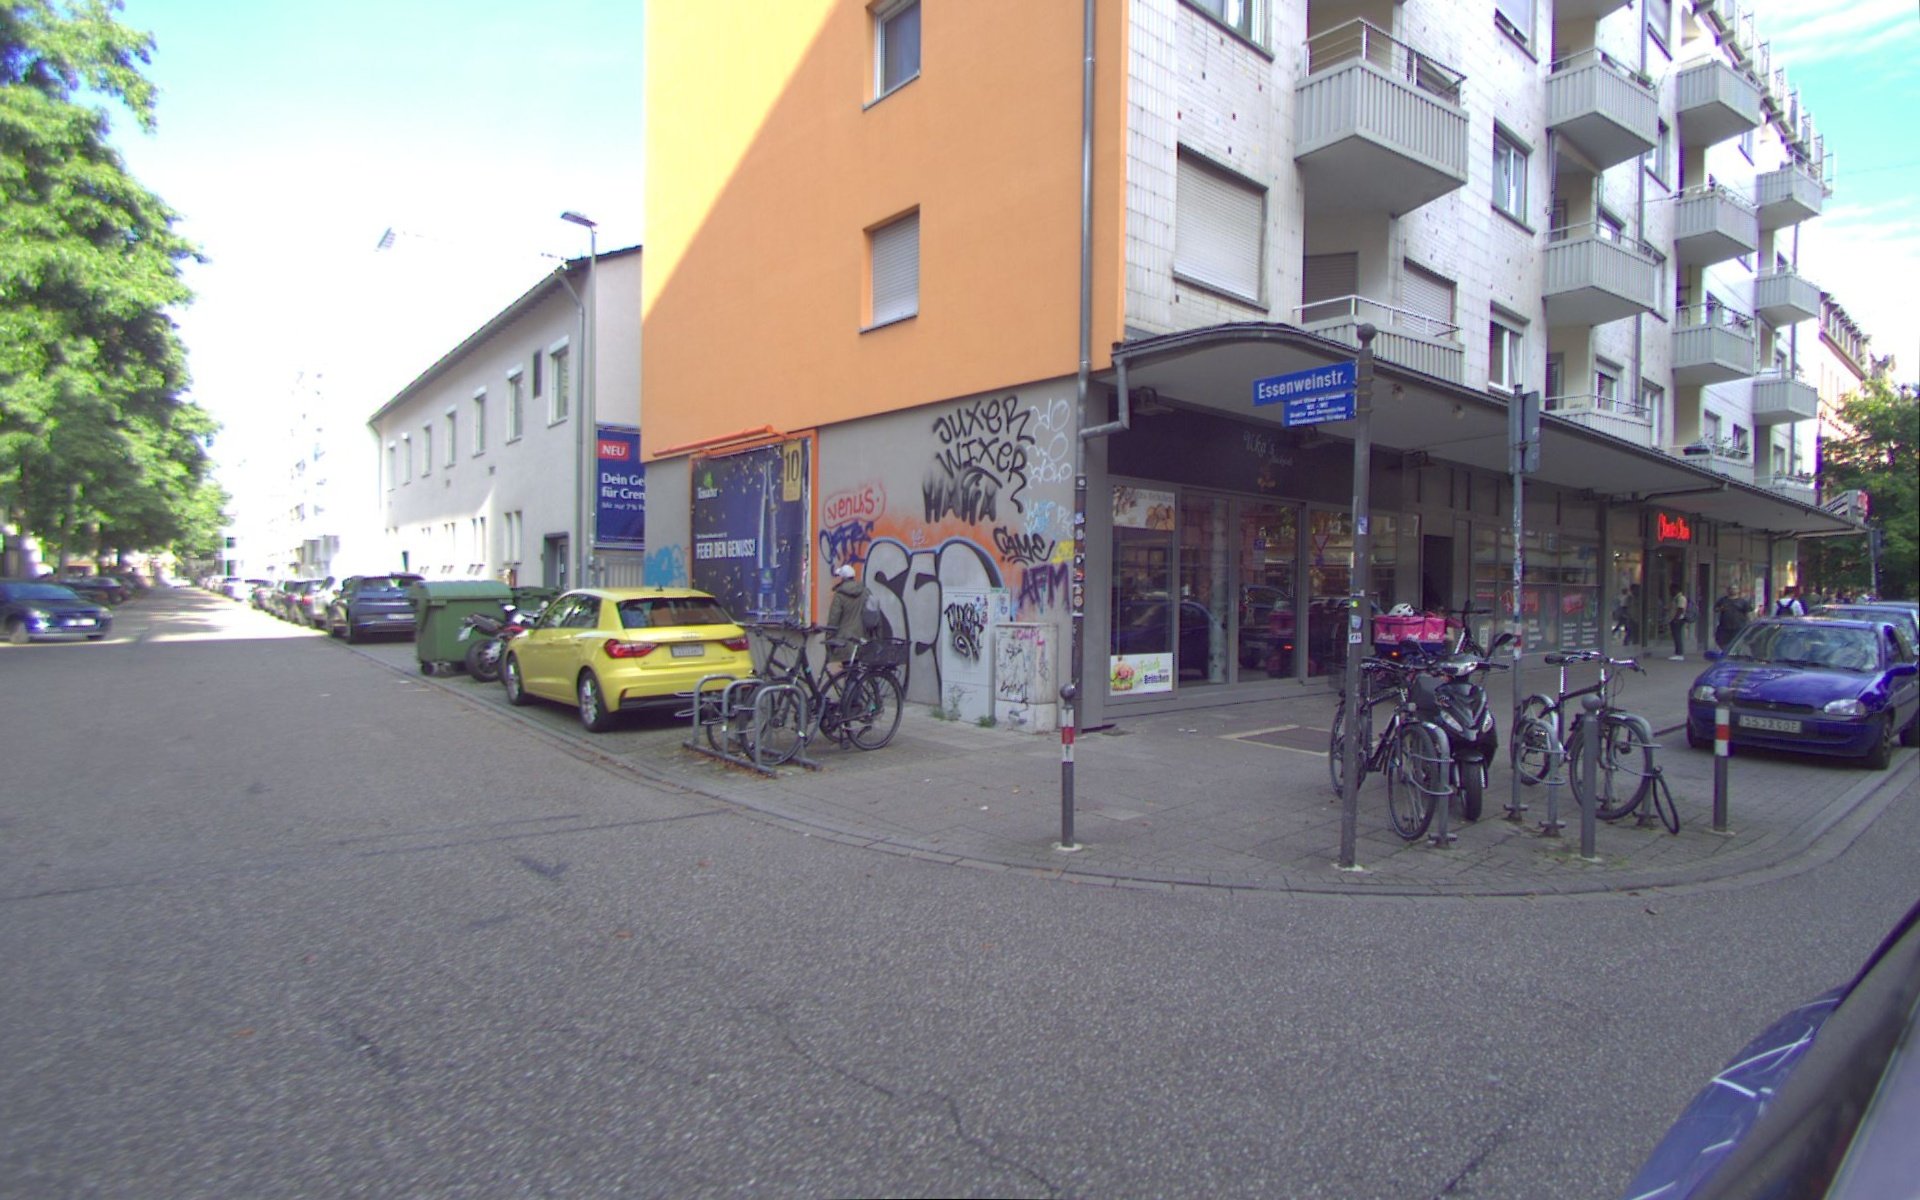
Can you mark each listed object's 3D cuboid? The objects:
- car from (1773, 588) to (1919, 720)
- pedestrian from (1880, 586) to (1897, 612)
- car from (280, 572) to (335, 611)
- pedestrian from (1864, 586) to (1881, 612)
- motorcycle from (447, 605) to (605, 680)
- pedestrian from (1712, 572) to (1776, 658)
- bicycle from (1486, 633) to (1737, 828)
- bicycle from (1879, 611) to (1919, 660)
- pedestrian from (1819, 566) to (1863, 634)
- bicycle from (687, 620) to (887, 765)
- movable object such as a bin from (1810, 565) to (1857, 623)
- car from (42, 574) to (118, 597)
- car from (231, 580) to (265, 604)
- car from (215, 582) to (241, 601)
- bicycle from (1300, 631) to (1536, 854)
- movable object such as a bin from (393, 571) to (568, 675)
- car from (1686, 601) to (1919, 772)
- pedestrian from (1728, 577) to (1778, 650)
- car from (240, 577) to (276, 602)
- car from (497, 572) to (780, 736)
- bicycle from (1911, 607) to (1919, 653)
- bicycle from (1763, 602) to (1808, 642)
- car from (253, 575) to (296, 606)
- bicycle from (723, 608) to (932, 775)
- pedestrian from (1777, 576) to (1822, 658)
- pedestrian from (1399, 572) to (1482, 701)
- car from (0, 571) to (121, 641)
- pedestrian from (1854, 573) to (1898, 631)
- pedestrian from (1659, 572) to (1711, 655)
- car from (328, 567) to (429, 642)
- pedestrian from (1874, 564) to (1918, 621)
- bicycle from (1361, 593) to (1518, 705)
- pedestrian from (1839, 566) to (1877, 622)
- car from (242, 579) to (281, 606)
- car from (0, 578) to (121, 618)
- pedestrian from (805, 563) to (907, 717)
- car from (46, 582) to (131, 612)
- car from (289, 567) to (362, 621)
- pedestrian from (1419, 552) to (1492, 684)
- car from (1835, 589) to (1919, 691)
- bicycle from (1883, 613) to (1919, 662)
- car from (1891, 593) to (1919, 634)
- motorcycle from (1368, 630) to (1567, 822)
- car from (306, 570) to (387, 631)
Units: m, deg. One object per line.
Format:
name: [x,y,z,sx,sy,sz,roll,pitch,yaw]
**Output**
car: [12.959,0.674,14.315,3.836,1.597,1.690,0,1,-43]
pedestrian: [47.943,-0.046,52.259,0.462,1.343,0.616,1,2,25]
car: [-25.600,-0.319,39.643,1.554,1.482,3.461,1,0,-37]
pedestrian: [47.761,-0.045,52.952,0.462,1.343,0.616,1,2,25]
motorcycle: [-6.439,0.602,15.115,0.657,1.015,2.086,1,1,43]
pedestrian: [16.843,0.306,21.741,1.031,1.768,0.850,1,3,-43]
bicycle: [4.622,0.864,7.355,0.671,1.108,1.770,1,2,2]
bicycle: [22.801,0.866,23.721,1.786,1.084,0.561,4,2,40]
pedestrian: [23.746,-0.005,27.273,0.914,1.775,0.764,1,0,-41]
bicycle: [-1.472,0.754,8.933,0.444,1.077,1.899,1,2,41]
movable object such as a bin: [27.550,-0.184,31.903,2.381,1.766,0.781,0,1,-41]
car: [-49.392,-0.830,56.830,1.279,1.271,2.984,1,2,32]
car: [-43.957,-0.470,62.474,1.546,1.419,3.670,1,0,-37]
car: [-55.037,-0.633,76.051,1.489,1.420,3.455,1,0,-37]
bicycle: [2.916,0.837,6.701,0.677,1.108,1.963,1,2,2]
movable object such as a bin: [-7.590,0.309,16.087,1.310,1.474,2.165,0,2,42]
car: [9.322,0.773,10.808,3.958,1.457,1.599,0,1,-40]
pedestrian: [18.556,0.305,23.681,0.700,1.652,0.723,1,3,-43]
car: [-40.647,-0.583,58.548,1.546,1.419,3.670,1,0,-37]
car: [-3.765,0.454,11.459,1.766,1.519,3.793,-1,2,-40]
bicycle: [25.222,0.817,25.378,0.892,1.139,1.886,1,3,-42]
bicycle: [23.795,0.621,29.192,0.672,1.056,1.716,2,2,29]
car: [-33.228,-0.442,49.040,1.554,1.482,3.766,0,0,-37]
bicycle: [-1.067,0.702,8.591,0.533,1.206,1.906,1,2,40]
pedestrian: [18.285,0.366,22.036,1.107,1.748,0.612,1,-1,-43]
pedestrian: [6.292,0.453,13.254,0.766,1.608,0.645,0,2,-39]
car: [-21.737,0.094,23.503,3.799,1.498,1.792,1,1,20]
pedestrian: [29.771,0.054,32.908,0.619,1.819,0.716,3,2,-8]
pedestrian: [16.111,0.280,22.497,0.812,1.768,0.707,4,2,34]
car: [-13.656,0.061,23.678,1.603,1.588,3.898,1,1,-37]
pedestrian: [30.555,-0.255,33.046,0.704,1.819,0.630,4,2,14]
bicycle: [6.371,0.590,13.369,2.455,1.306,0.920,0,3,-41]
pedestrian: [30.052,-0.204,33.865,0.645,1.819,0.656,3,2,-28]
car: [-37.618,-0.395,54.456,1.546,1.419,3.670,1,0,-37]
car: [-34.717,-0.120,38.777,1.579,1.450,3.714,1,2,34]
pedestrian: [-1.147,0.405,11.111,0.811,1.608,0.780,0,1,-38]
car: [-44.493,-0.194,51.737,3.200,1.450,1.454,-1,2,-39]
car: [-20.040,-0.181,31.908,1.618,1.594,3.766,1,0,-37]
pedestrian: [7.303,0.254,14.927,0.631,1.883,0.711,1,0,-12]
car: [16.935,0.665,17.800,3.855,1.625,1.796,0,1,-41]
bicycle: [22.431,0.899,23.212,1.786,1.084,0.578,4,2,40]
car: [40.583,0.563,40.345,4.801,1.617,1.922,1,0,33]
motorcycle: [3.592,0.831,7.329,0.597,1.108,1.665,1,2,2]
car: [-17.106,-0.026,28.170,1.603,1.588,3.462,1,1,-37]
